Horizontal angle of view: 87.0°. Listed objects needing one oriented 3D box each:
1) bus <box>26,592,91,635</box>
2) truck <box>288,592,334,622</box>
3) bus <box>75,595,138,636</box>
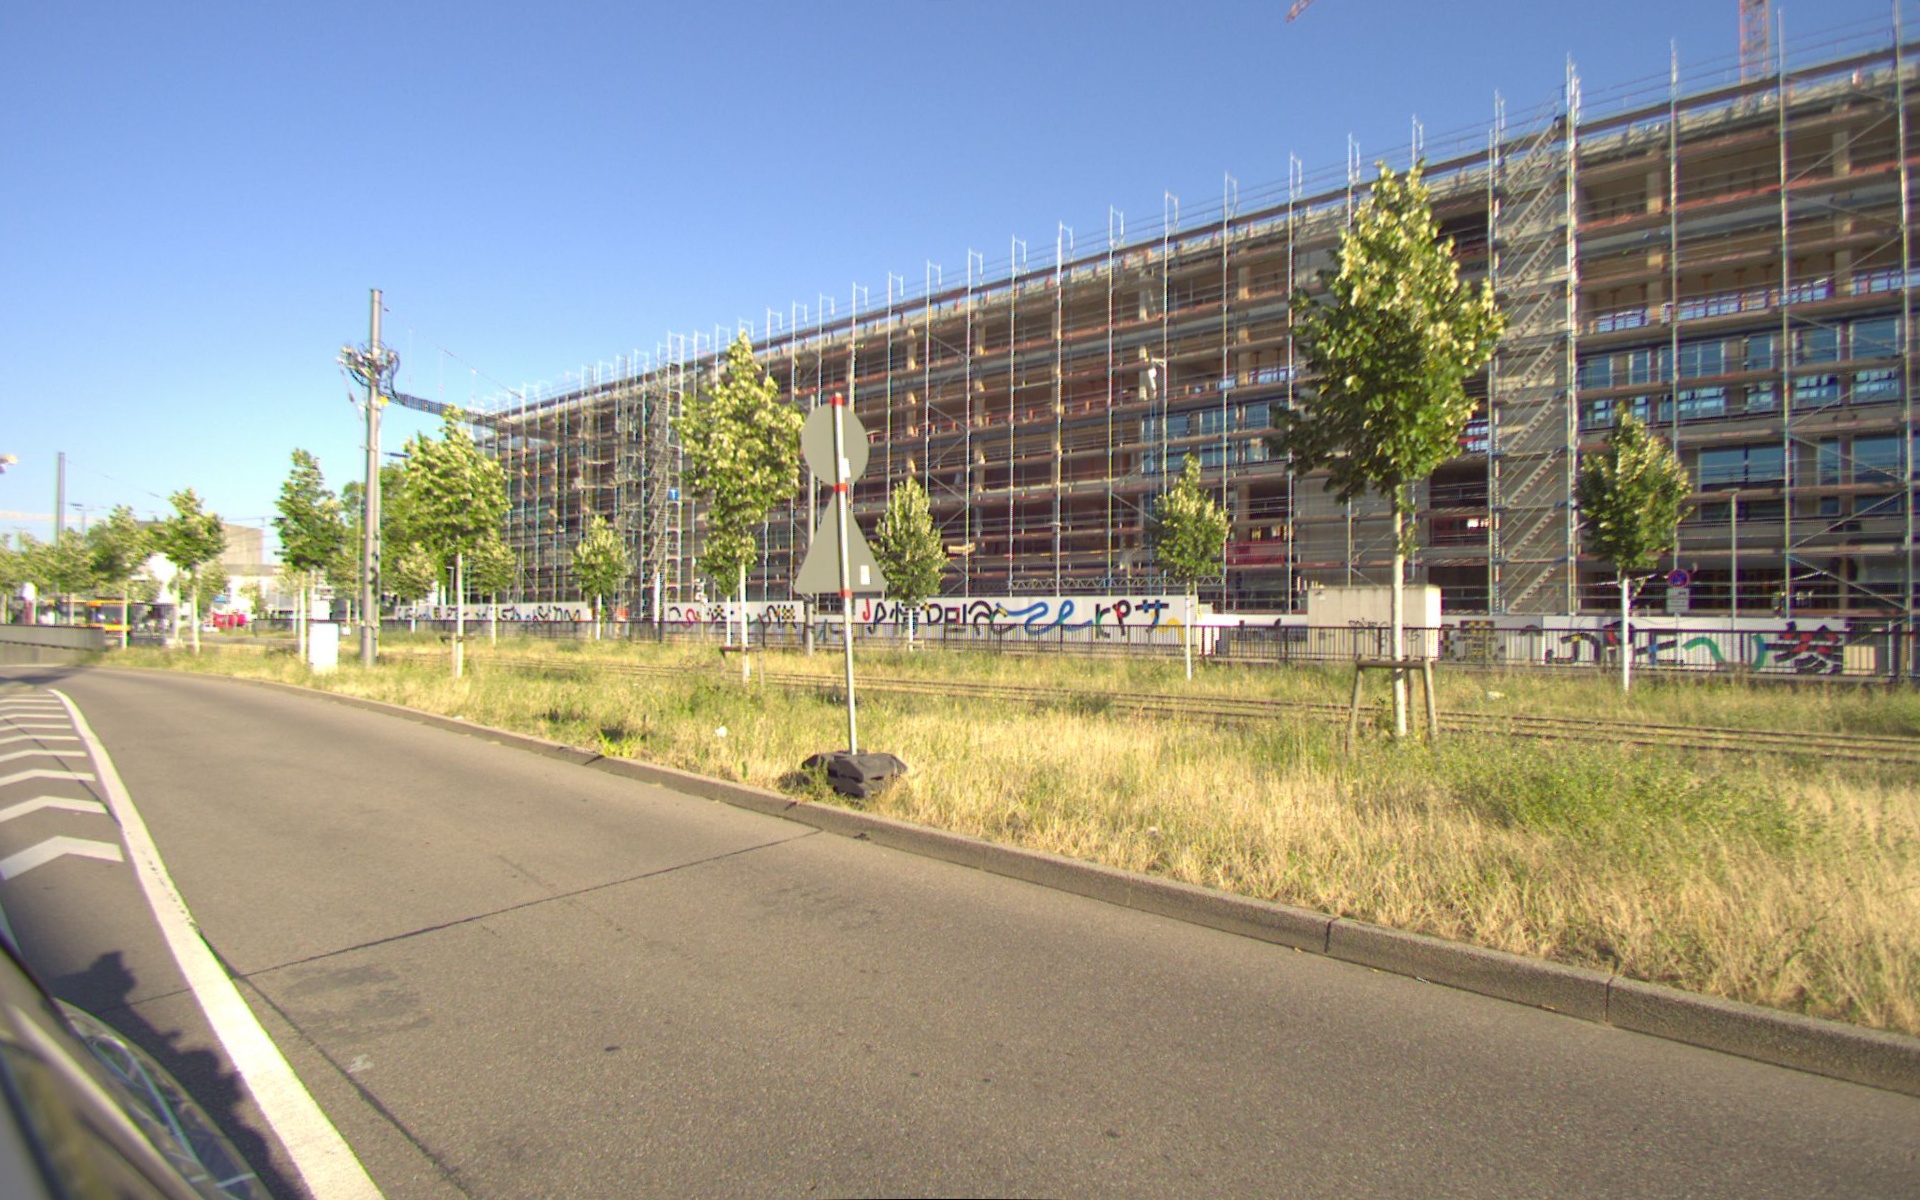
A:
[{"bbox_3d":[-71.702,1.141,80.448,8.650,3.247,2.689,-1,-2,41],"label":"bus"},{"bbox_3d":[-56.801,0.646,88.515,4.737,2.593,2.116,-1,-2,41],"label":"truck"},{"bbox_3d":[-70.457,1.322,83.470,8.651,3.247,2.689,-1,-2,41],"label":"bus"}]
